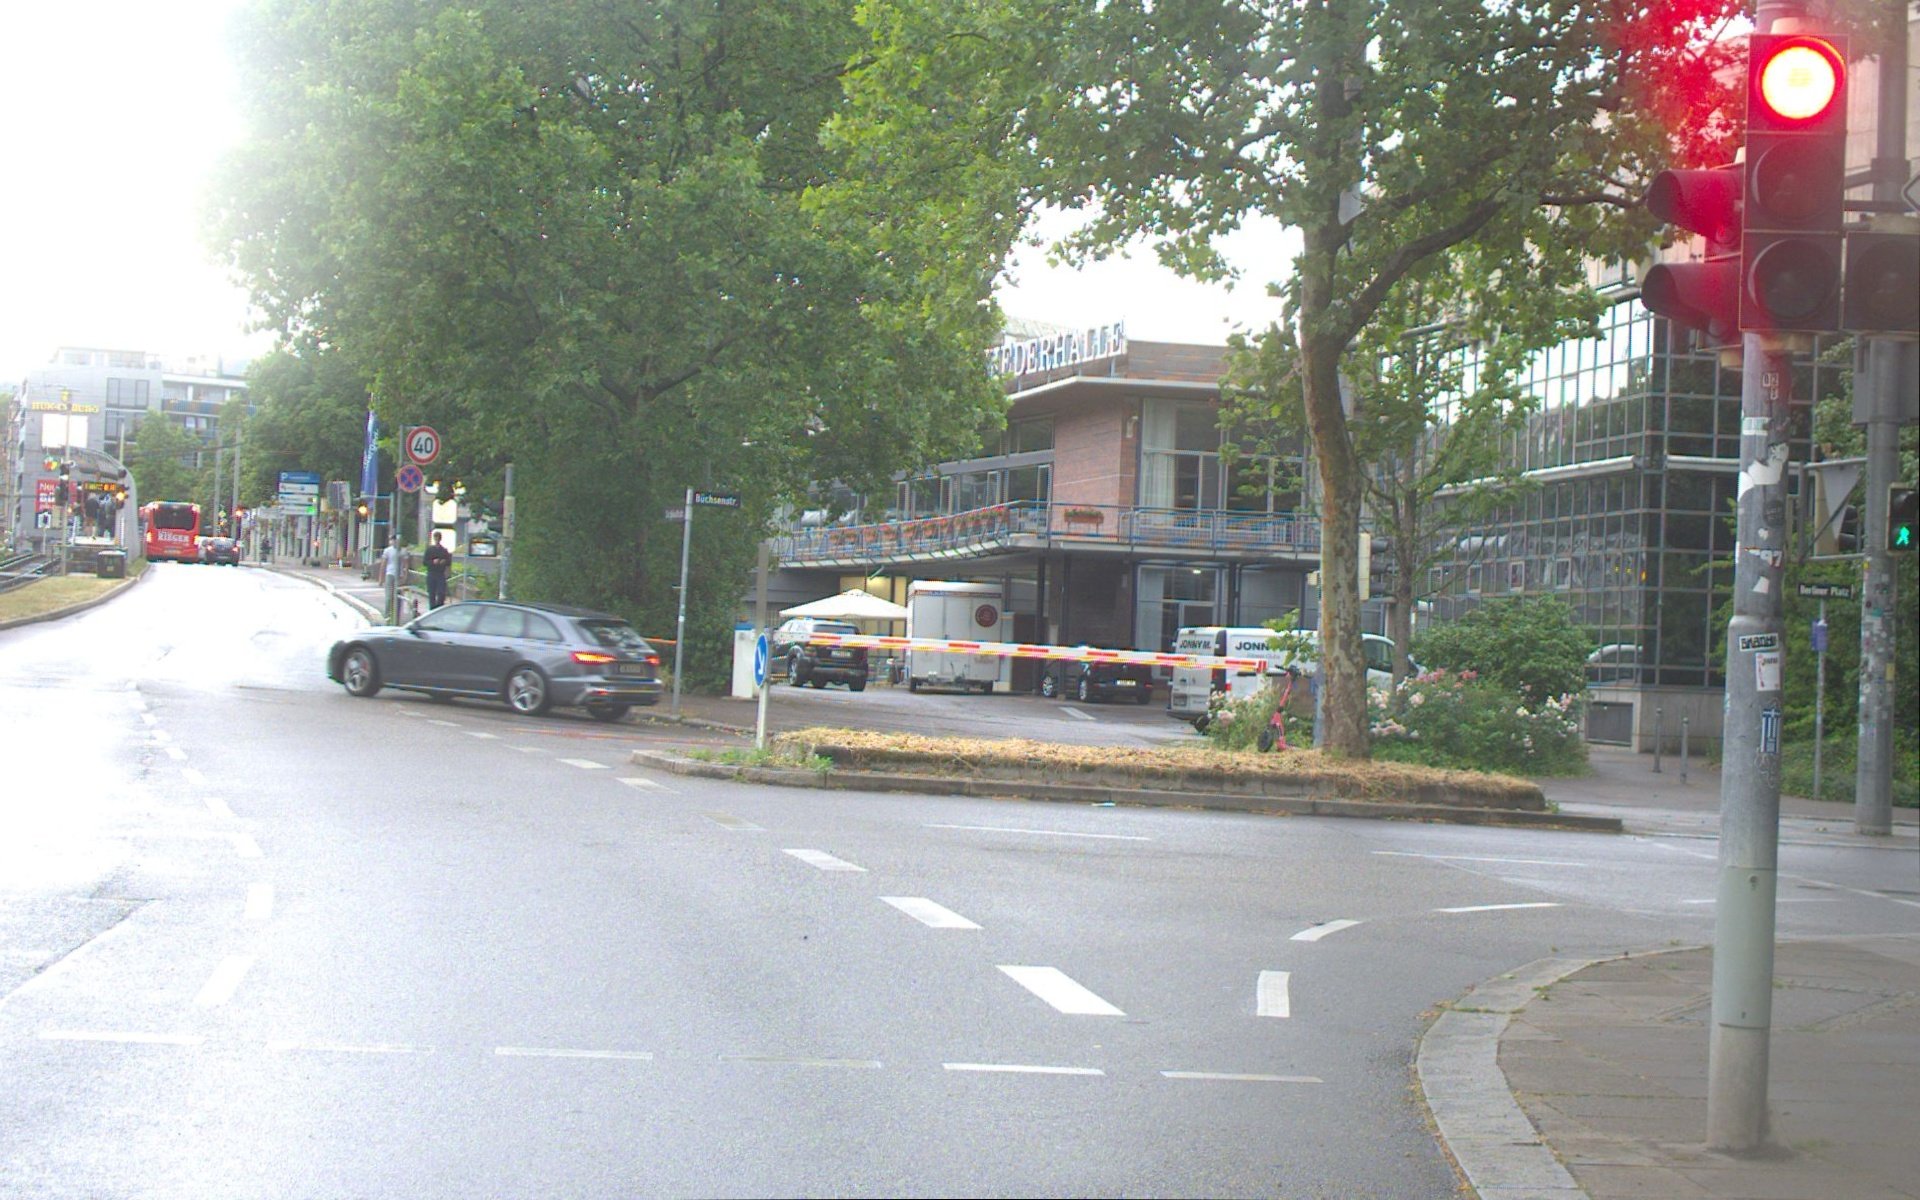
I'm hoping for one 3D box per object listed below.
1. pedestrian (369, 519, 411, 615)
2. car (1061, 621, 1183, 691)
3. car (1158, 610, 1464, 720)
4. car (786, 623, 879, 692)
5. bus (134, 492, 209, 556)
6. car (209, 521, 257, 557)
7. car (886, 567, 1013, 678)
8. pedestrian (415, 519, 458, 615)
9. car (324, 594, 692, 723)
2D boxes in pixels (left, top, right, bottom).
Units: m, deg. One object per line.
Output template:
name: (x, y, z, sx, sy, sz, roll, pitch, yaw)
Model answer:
pedestrian: (-12.043, -0.704, 72.634, 0.814, 2.007, 1.077, 1, 0, -8)
car: (4.173, 1.433, 89.214, 2.019, 1.546, 4.351, 3, 1, -13)
car: (6.365, 1.176, 62.217, 5.198, 1.725, 1.875, 3, 1, -25)
car: (-3.235, 1.454, 87.960, 2.019, 1.546, 4.350, 3, 1, 2)
bus: (-40.487, -3.861, 176.428, 3.589, 3.160, 10.423, 1, 1, -13)
car: (-38.396, -3.207, 181.410, 2.362, 1.810, 5.185, 1, 1, -13)
car: (-0.341, 0.541, 91.460, 2.731, 2.686, 6.923, 3, 1, -5)
pedestrian: (-11.074, -0.692, 72.754, 0.874, 2.007, 1.077, 1, 0, -8)
car: (-5.821, 0.715, 44.227, 4.343, 1.514, 1.997, 1, 1, 29)
